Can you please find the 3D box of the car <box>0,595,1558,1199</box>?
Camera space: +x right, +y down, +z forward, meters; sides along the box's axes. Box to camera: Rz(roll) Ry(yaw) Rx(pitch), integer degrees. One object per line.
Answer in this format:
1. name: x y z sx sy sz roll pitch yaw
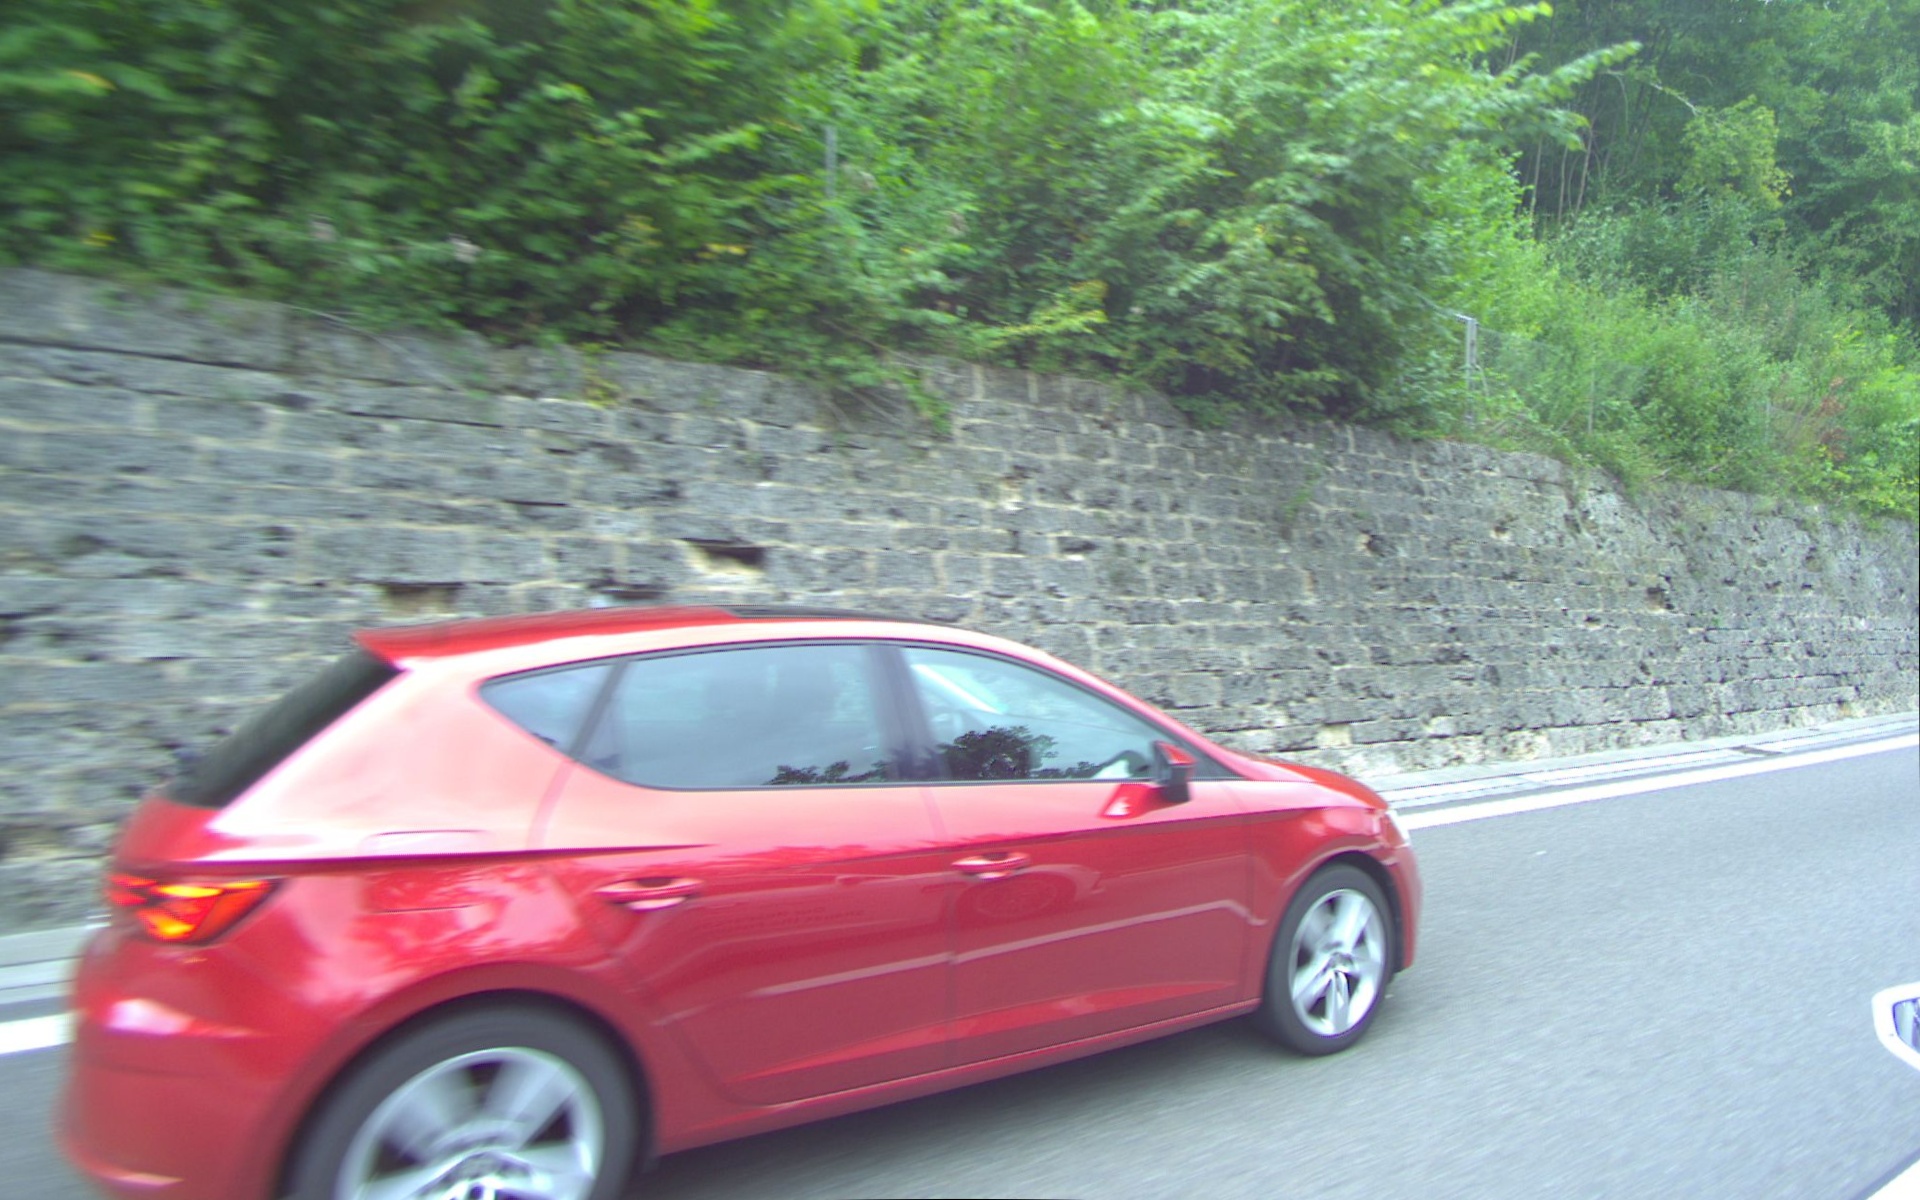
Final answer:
1. car: -0.114 0.785 3.395 4.359 1.479 1.758 2 0 -30
